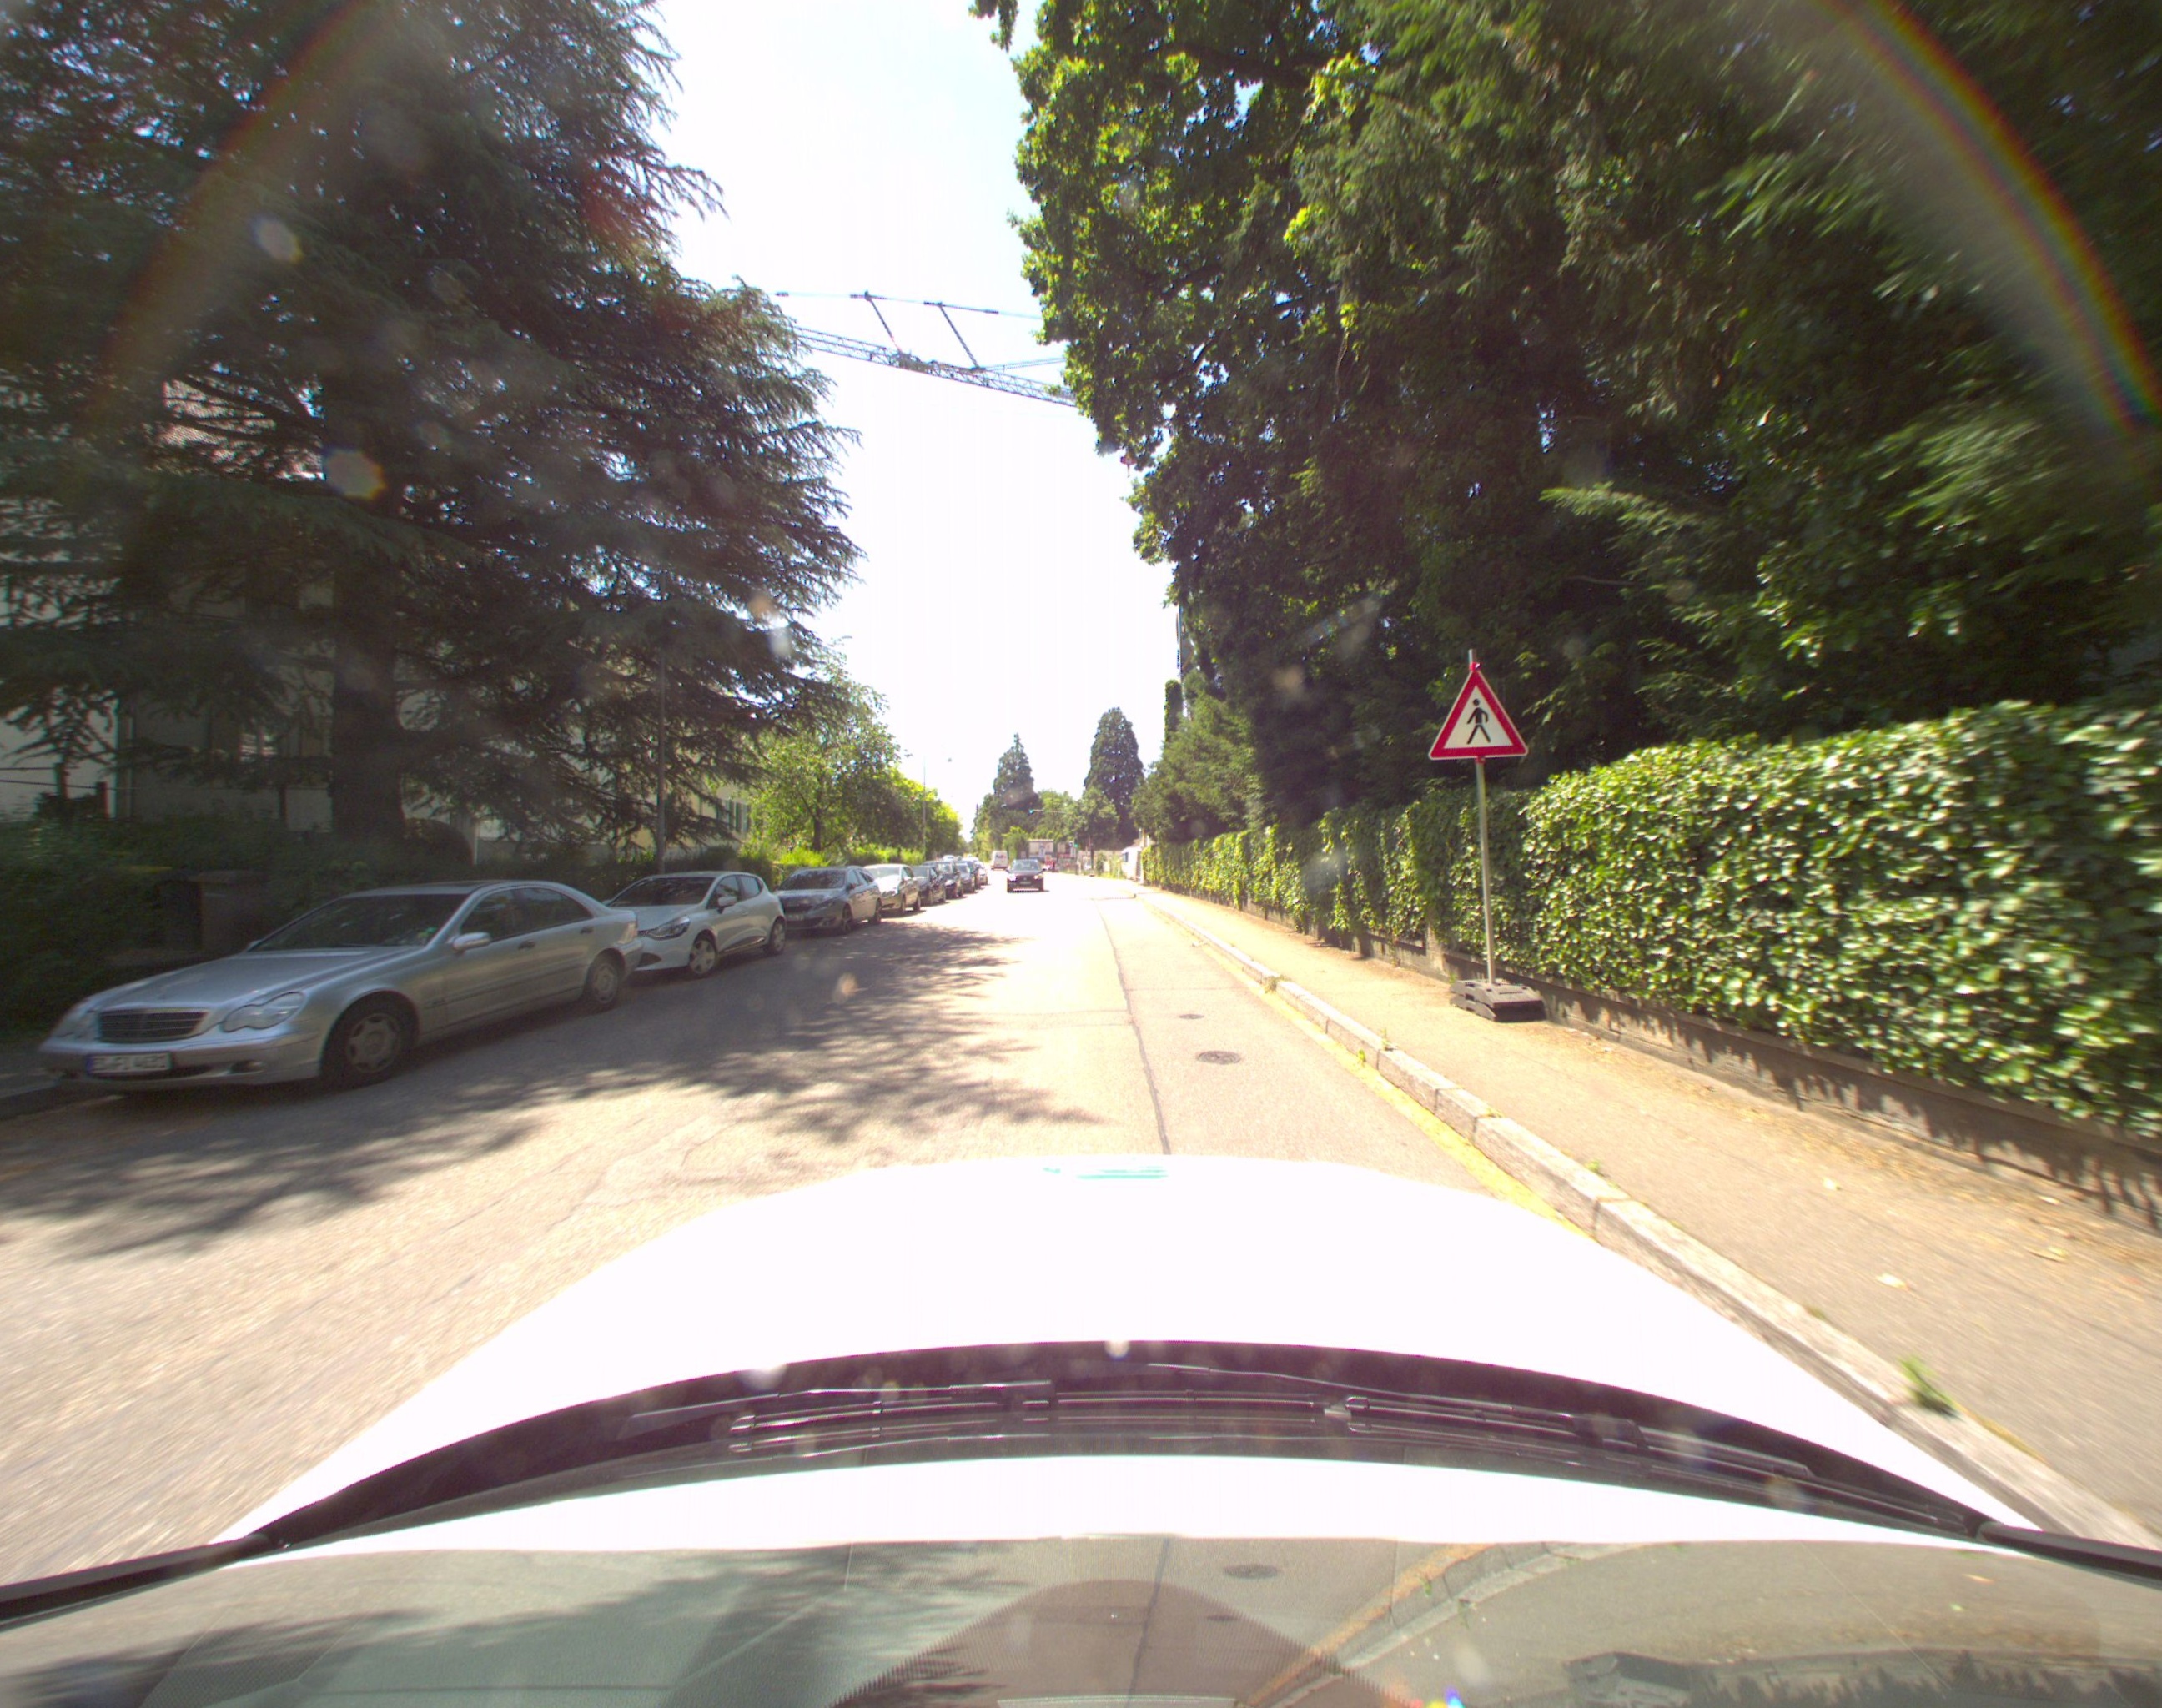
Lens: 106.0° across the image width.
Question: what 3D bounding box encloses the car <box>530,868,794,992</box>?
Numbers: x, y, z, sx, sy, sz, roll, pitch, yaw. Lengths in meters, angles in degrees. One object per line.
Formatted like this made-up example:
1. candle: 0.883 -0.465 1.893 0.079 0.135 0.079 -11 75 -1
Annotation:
1. car: -5.912 0.981 12.106 1.790 1.442 3.897 -2 0 1

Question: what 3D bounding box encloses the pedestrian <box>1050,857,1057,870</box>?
1. pedestrian: -3.277 1.123 96.190 0.695 1.600 0.570 1 -1 -11

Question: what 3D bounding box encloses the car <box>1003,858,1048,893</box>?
1. car: -2.627 1.007 39.558 1.893 1.575 4.140 -1 0 0

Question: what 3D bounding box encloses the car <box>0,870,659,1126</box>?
1. car: -5.864 0.930 7.220 1.790 1.442 4.477 -2 0 1

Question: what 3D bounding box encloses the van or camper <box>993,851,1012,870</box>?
1. van or camper: -10.484 0.865 108.299 2.262 2.528 4.744 -2 0 -9

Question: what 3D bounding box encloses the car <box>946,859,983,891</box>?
1. car: -6.335 1.120 44.585 1.678 1.637 4.322 -2 0 -5

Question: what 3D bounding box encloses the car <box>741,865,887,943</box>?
1. car: -5.785 1.013 18.219 1.790 1.442 4.272 -2 0 0

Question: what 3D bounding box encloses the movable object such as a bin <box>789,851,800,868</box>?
1. movable object such as a bin: -20.490 0.366 58.236 0.620 1.196 0.672 0 -1 -7

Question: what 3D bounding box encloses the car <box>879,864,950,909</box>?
1. car: -5.872 1.105 29.089 1.675 1.401 3.789 -2 0 0

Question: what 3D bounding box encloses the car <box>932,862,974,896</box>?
1. car: -6.114 1.175 39.285 1.678 1.476 4.322 -2 0 -5

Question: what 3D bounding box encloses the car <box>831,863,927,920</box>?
1. car: -5.805 1.032 23.814 1.790 1.442 3.784 -2 0 0

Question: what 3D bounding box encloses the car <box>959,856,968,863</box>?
1. car: -28.545 1.323 198.123 1.995 1.662 3.983 0 -1 -12

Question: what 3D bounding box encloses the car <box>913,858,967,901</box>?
1. car: -5.846 1.012 34.095 1.677 1.639 3.786 -2 0 -3

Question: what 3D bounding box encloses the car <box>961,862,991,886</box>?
1. car: -6.576 1.235 51.458 1.678 1.441 4.239 -2 0 -5

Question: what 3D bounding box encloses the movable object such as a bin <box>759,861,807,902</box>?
1. movable object such as a bin: -9.227 0.848 25.275 1.296 1.199 0.968 -1 0 -17

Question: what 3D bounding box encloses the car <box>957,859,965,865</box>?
1. car: -33.490 2.112 227.775 1.995 1.662 3.983 0 -1 -12
